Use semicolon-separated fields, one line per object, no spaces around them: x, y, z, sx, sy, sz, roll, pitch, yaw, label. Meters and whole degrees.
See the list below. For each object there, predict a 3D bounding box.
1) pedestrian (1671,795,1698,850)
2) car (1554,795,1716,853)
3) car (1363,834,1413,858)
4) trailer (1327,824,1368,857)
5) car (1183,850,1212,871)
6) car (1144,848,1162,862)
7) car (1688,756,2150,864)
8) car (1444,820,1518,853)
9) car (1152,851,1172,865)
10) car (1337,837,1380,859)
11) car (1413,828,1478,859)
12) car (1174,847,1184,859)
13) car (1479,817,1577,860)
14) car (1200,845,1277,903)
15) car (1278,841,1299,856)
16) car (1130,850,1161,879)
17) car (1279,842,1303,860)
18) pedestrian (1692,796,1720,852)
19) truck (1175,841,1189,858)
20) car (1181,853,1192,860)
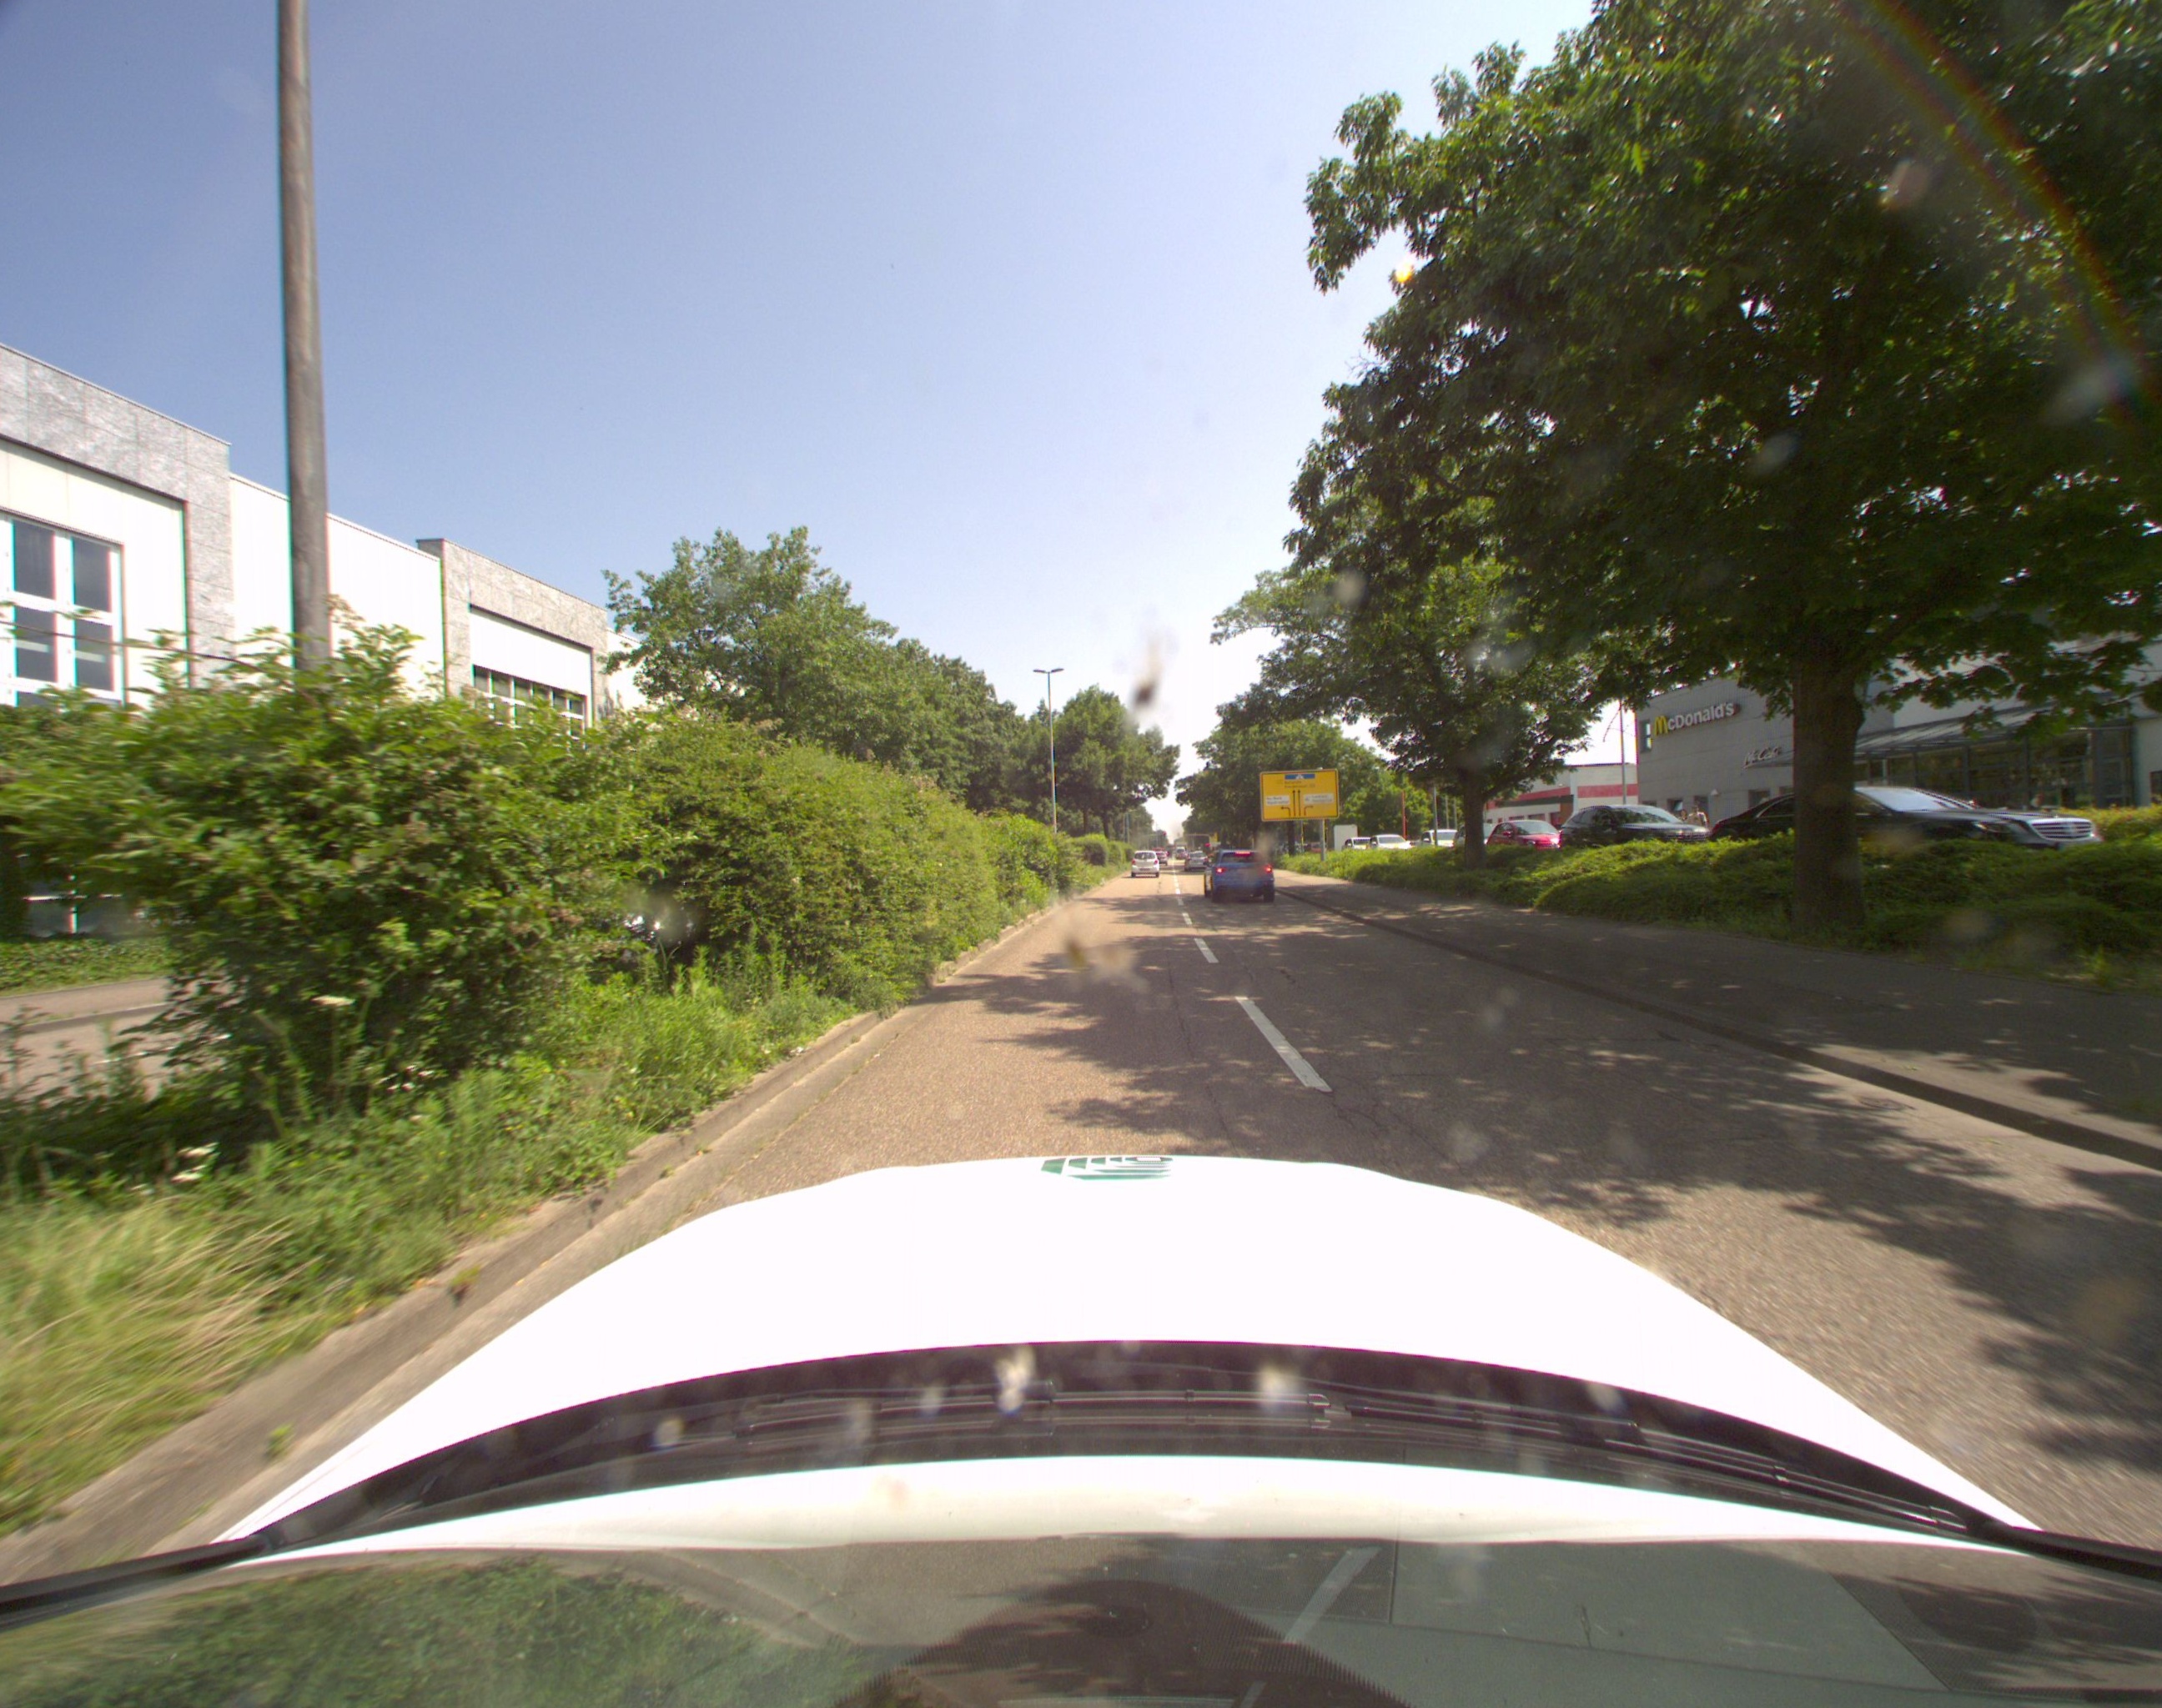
21.485;-1.113;29.006;0.463;1.921;0.535;-3;0;6;pedestrian
13.710;-0.680;20.485;1.610;1.253;4.207;0;0;7;car
16.319;-0.401;43.399;1.585;1.158;3.744;-2;-1;6;car
17.817;-0.910;54.667;1.691;2.055;5.497;-2;0;9;trailer
8.497;0.468;59.649;1.856;1.473;4.007;-2;-1;6;car
8.316;0.179;94.162;1.787;1.523;4.002;-2;-1;2;car
13.651;-0.588;14.013;1.902;1.451;5.591;-2;-1;-5;car
14.831;-0.627;30.327;1.500;1.122;2.859;-2;-1;4;car
8.212;0.432;82.088;1.875;1.354;4.007;-2;-1;7;car
16.909;-0.355;49.714;1.611;1.253;3.635;-2;-1;5;car
15.780;-0.417;35.442;1.609;1.253;3.877;-2;-1;10;car
20.668;-0.212;172.562;1.983;2.255;4.007;-3;0;6;car
14.297;-0.451;26.259;1.609;1.253;3.774;-2;-1;10;car
4.784;0.589;25.258;1.800;1.593;4.354;-2;-1;4;car
21.391;-0.548;83.990;1.690;1.424;4.666;-2;-1;10;car
3.736;0.597;47.684;1.632;1.552;3.327;-2;-1;2;car
20.269;-0.294;78.686;1.691;1.637;3.914;-2;-1;8;car
21.791;-1.049;28.397;0.578;1.921;0.409;-3;0;5;pedestrian
22.631;-1.065;182.937;2.917;3.502;9.174;-3;0;6;truck
20.310;0.493;157.199;1.856;1.310;4.007;-3;0;6;car
